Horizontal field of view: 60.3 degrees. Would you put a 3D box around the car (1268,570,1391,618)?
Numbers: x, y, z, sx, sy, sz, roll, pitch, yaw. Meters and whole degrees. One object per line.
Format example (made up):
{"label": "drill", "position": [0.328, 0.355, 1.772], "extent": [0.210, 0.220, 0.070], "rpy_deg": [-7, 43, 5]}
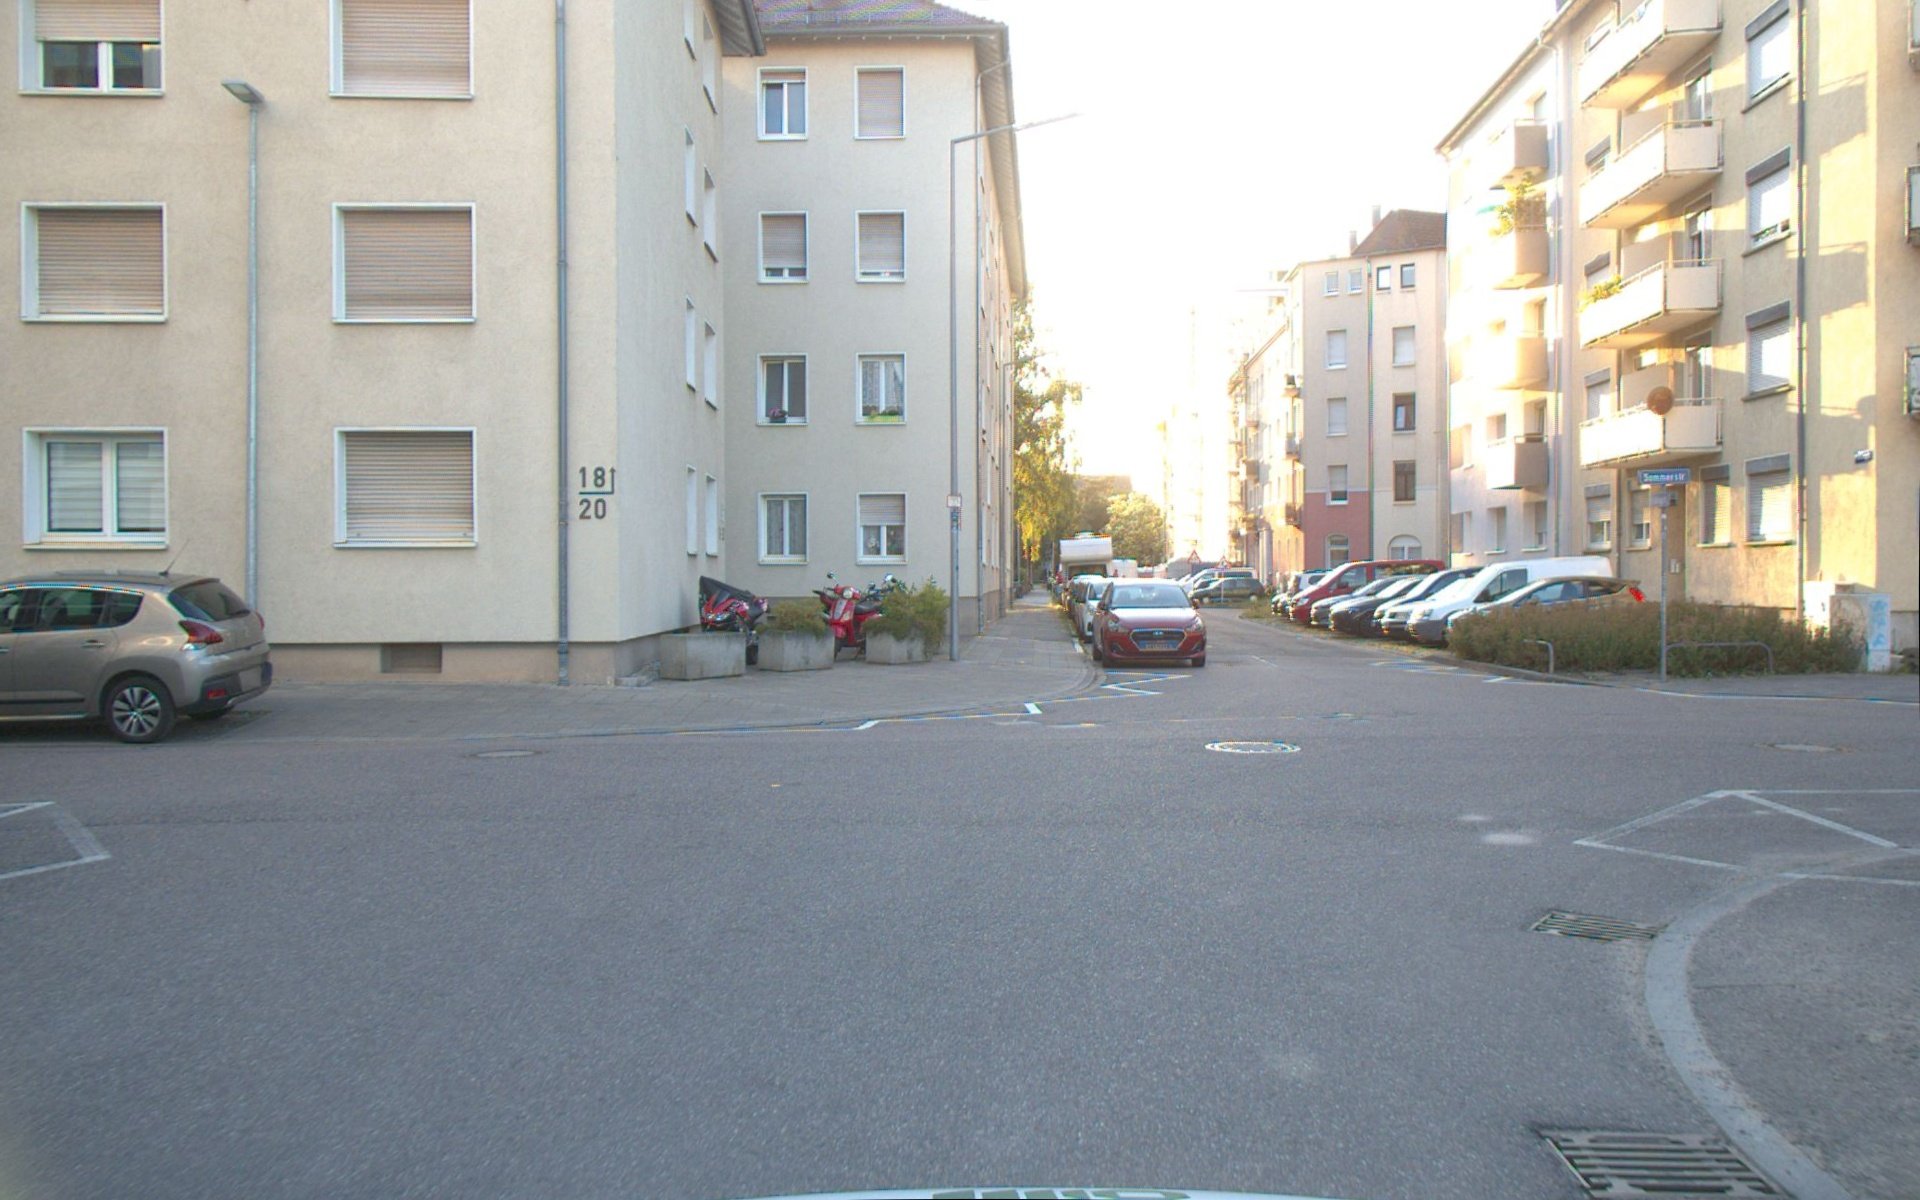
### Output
{"label": "car", "position": [12.306, -0.210, 55.236], "extent": [3.732, 1.453, 1.635], "rpy_deg": [-2, 0, 2]}

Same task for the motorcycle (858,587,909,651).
{"label": "motorcycle", "position": [-1.343, 0.323, 29.497], "extent": [0.667, 1.098, 2.035], "rpy_deg": [0, 1, 4]}

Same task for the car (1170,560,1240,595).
{"label": "car", "position": [14.693, -1.345, 99.225], "extent": [3.906, 2.049, 2.000], "rpy_deg": [0, 0, -1]}

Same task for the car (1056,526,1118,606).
{"label": "car", "position": [5.665, -1.482, 74.483], "extent": [2.565, 3.326, 7.700], "rpy_deg": [-2, 1, 3]}

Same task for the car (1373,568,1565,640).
{"label": "car", "position": [11.503, 0.086, 37.576], "extent": [3.872, 1.548, 1.707], "rpy_deg": [-1, 1, 3]}

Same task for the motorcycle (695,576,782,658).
{"label": "motorcycle", "position": [-3.587, 0.252, 27.015], "extent": [0.708, 1.286, 2.083], "rpy_deg": [0, 1, 13]}

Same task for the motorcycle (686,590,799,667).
{"label": "motorcycle", "position": [-3.219, 0.400, 24.732], "extent": [0.709, 1.098, 2.080], "rpy_deg": [0, 1, 23]}

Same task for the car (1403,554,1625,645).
{"label": "car", "position": [11.799, -0.009, 35.436], "extent": [4.190, 1.893, 1.742], "rpy_deg": [0, 0, 3]}

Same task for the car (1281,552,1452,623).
{"label": "car", "position": [12.205, -0.371, 49.889], "extent": [4.624, 1.942, 2.060], "rpy_deg": [-2, 0, 2]}

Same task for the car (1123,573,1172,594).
{"label": "car", "position": [15.333, -1.368, 135.427], "extent": [3.904, 1.557, 1.659], "rpy_deg": [-2, 1, 2]}

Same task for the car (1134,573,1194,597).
{"label": "car", "position": [13.881, -1.031, 112.766], "extent": [3.904, 1.557, 1.659], "rpy_deg": [-2, 1, 2]}

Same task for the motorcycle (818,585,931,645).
{"label": "motorcycle", "position": [-1.637, 0.277, 31.710], "extent": [2.078, 1.124, 0.561], "rpy_deg": [0, 0, 15]}

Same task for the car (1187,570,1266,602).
{"label": "car", "position": [13.881, -0.742, 86.262], "extent": [3.904, 1.557, 1.659], "rpy_deg": [-2, 1, 2]}

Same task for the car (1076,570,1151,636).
{"label": "car", "position": [3.734, 0.051, 40.646], "extent": [1.582, 1.499, 3.506], "rpy_deg": [-2, 1, 2]}

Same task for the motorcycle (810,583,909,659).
{"label": "motorcycle", "position": [-1.612, 0.321, 26.884], "extent": [0.675, 1.180, 2.032], "rpy_deg": [0, 1, 27]}

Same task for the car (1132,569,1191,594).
{"label": "car", "position": [13.977, -1.291, 114.730], "extent": [3.904, 1.557, 1.659], "rpy_deg": [-2, 1, 2]}

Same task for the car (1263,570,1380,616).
{"label": "car", "position": [12.592, -0.253, 57.744], "extent": [3.732, 1.453, 1.635], "rpy_deg": [-2, 0, 2]}

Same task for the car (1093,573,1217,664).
{"label": "car", "position": [3.371, 0.282, 29.270], "extent": [1.807, 1.499, 4.079], "rpy_deg": [0, 1, 2]}

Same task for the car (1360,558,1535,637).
{"label": "car", "position": [11.710, -0.065, 39.891], "extent": [3.711, 1.725, 1.656], "rpy_deg": [-2, 0, 3]}

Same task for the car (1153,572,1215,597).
{"label": "car", "position": [14.922, -1.018, 110.213], "extent": [3.904, 1.557, 1.659], "rpy_deg": [-2, 1, 2]}

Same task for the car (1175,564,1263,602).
{"label": "car", "position": [14.583, -0.953, 93.288], "extent": [4.713, 2.002, 1.739], "rpy_deg": [-2, 1, 2]}

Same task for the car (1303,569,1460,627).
{"label": "car", "position": [12.022, -0.052, 47.357], "extent": [4.059, 1.496, 1.637], "rpy_deg": [-2, 0, 2]}

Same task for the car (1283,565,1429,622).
{"label": "car", "position": [12.609, -0.207, 52.811], "extent": [4.234, 1.666, 1.818], "rpy_deg": [-2, 0, 2]}

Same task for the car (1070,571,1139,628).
{"label": "car", "position": [3.933, -0.033, 45.494], "extent": [1.625, 1.459, 4.032], "rpy_deg": [-2, 1, 2]}

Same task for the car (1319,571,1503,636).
{"label": "car", "position": [11.407, 0.082, 42.013], "extent": [4.218, 1.475, 1.656], "rpy_deg": [-2, 0, 3]}

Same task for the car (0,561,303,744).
{"label": "car", "position": [-9.116, 0.500, 17.000], "extent": [3.926, 1.645, 1.881], "rpy_deg": [0, 5, -2]}

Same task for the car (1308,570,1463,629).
{"label": "car", "position": [11.607, -0.023, 45.243], "extent": [3.795, 1.441, 1.637], "rpy_deg": [-2, 0, 1]}

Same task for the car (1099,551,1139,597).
{"label": "car", "position": [10.118, -1.657, 105.538], "extent": [2.084, 2.764, 4.834], "rpy_deg": [-2, 1, 2]}

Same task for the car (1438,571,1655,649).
{"label": "car", "position": [11.758, 0.186, 33.339], "extent": [3.791, 1.518, 1.742], "rpy_deg": [0, 0, 3]}
